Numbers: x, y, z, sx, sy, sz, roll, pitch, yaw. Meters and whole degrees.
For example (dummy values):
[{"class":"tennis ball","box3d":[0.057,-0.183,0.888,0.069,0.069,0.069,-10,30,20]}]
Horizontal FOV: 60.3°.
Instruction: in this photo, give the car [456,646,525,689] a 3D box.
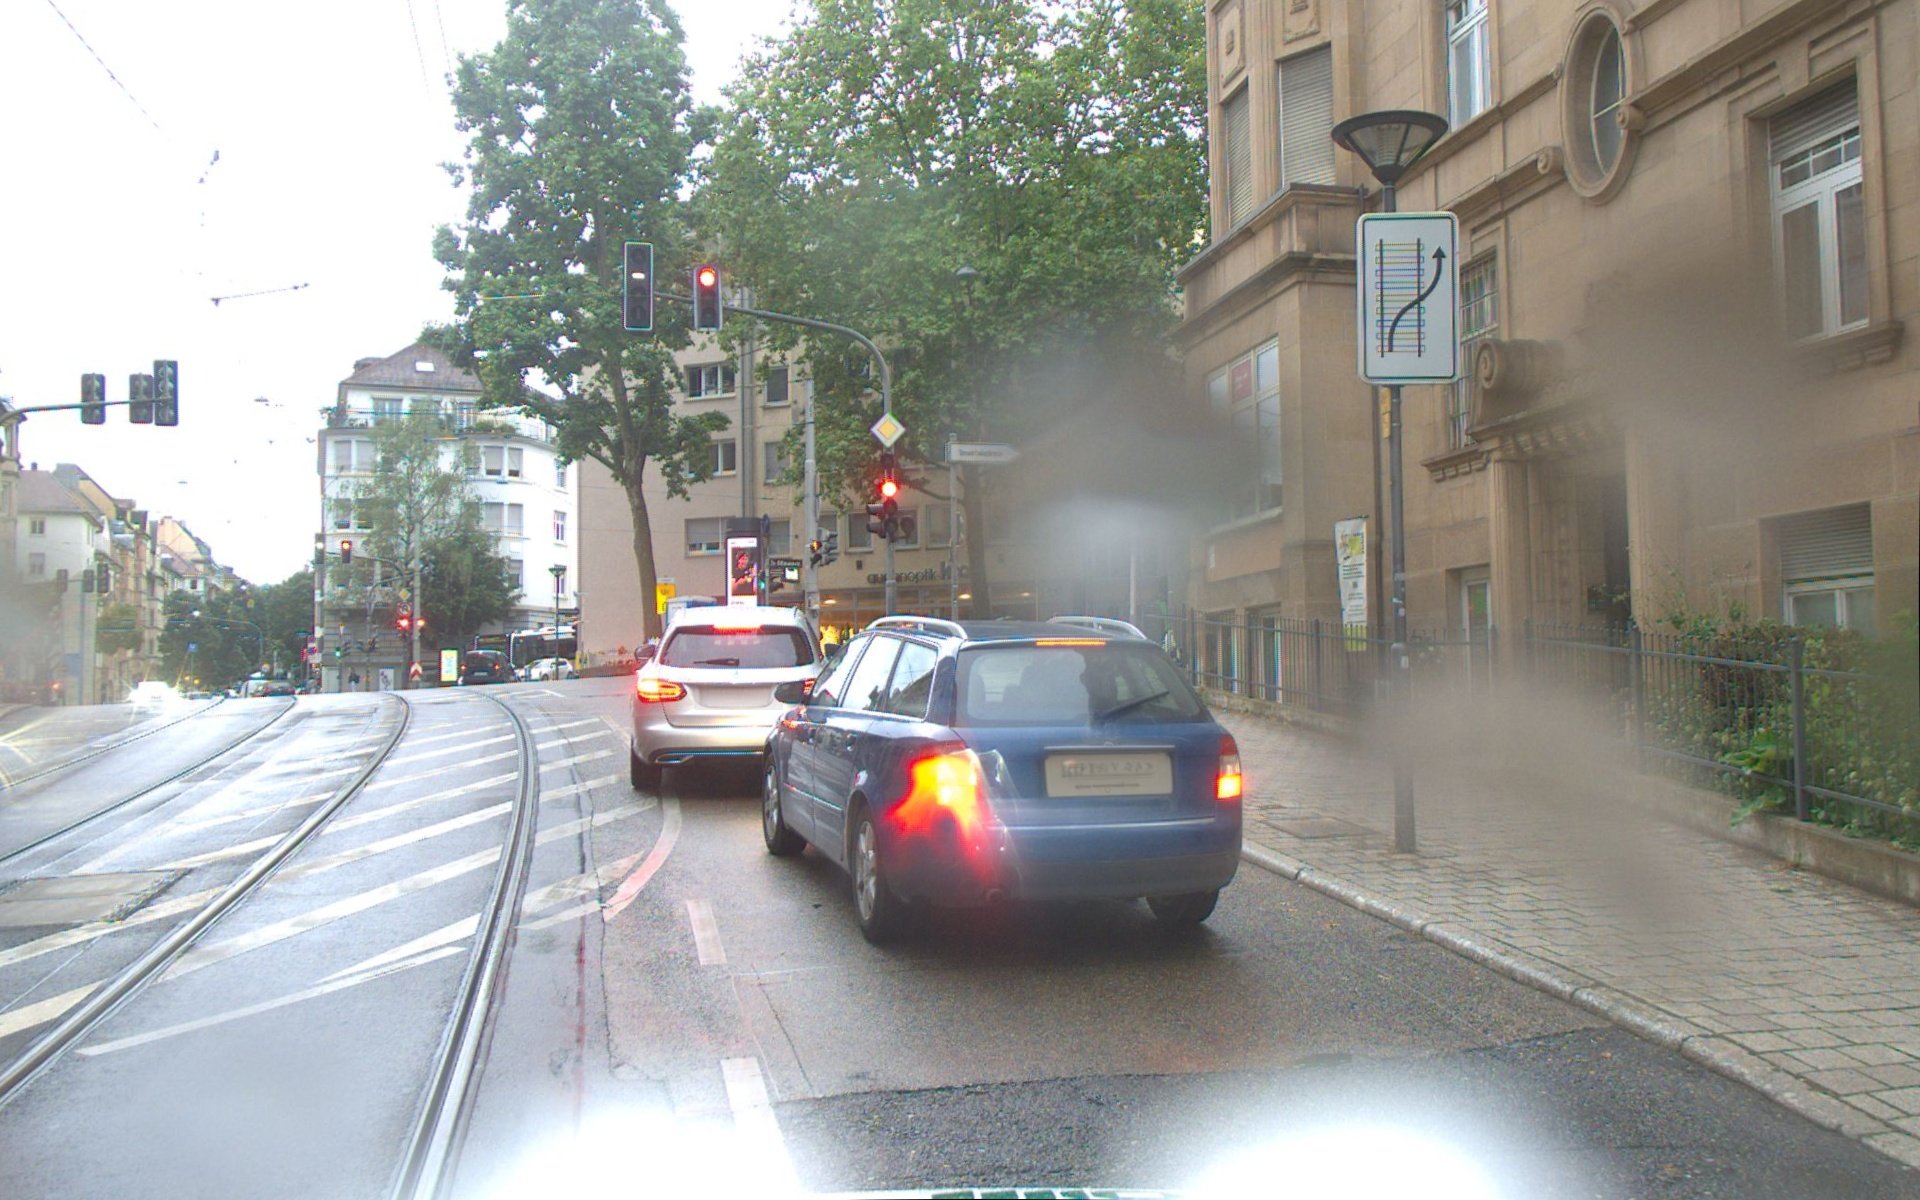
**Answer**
[{"class":"car","box3d":[-19.544,2.796,68.965,1.758,1.536,3.998,-3,0,-2]}]

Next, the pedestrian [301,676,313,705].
[{"class":"pedestrian","box3d":[-38.827,5.387,98.392,0.639,1.690,0.646,0,-1,-21]}]

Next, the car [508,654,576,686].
[{"class":"car","box3d":[-22.574,3.774,89.480,1.756,1.537,4.002,-1,0,17]}]

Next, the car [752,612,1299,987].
[{"class":"car","box3d":[0.072,0.807,8.737,1.683,1.440,4.017,0,0,-17]}]

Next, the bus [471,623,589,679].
[{"class":"bus","box3d":[-24.721,2.880,95.647,2.793,2.911,8.740,-1,0,13]}]

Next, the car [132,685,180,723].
[{"class":"car","box3d":[-39.157,5.030,80.490,1.776,1.537,4.617,-1,0,-30]}]

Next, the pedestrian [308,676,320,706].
[{"class":"pedestrian","box3d":[-37.340,5.264,95.587,0.639,1.690,0.646,0,-1,-21]}]

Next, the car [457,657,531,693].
[{"class":"car","box3d":[-23.922,3.822,84.947,1.756,1.642,4.002,-1,0,17]}]

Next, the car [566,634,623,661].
[{"class":"car","box3d":[-22.862,2.939,103.533,1.756,1.537,4.002,-1,0,17]}]

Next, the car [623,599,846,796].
[{"class":"car","box3d":[-1.958,0.737,14.405,1.678,1.481,3.546,0,0,-8]}]

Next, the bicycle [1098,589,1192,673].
[{"class":"bicycle","box3d":[2.831,0.466,25.306,1.278,1.194,0.524,-3,0,-13]}]
